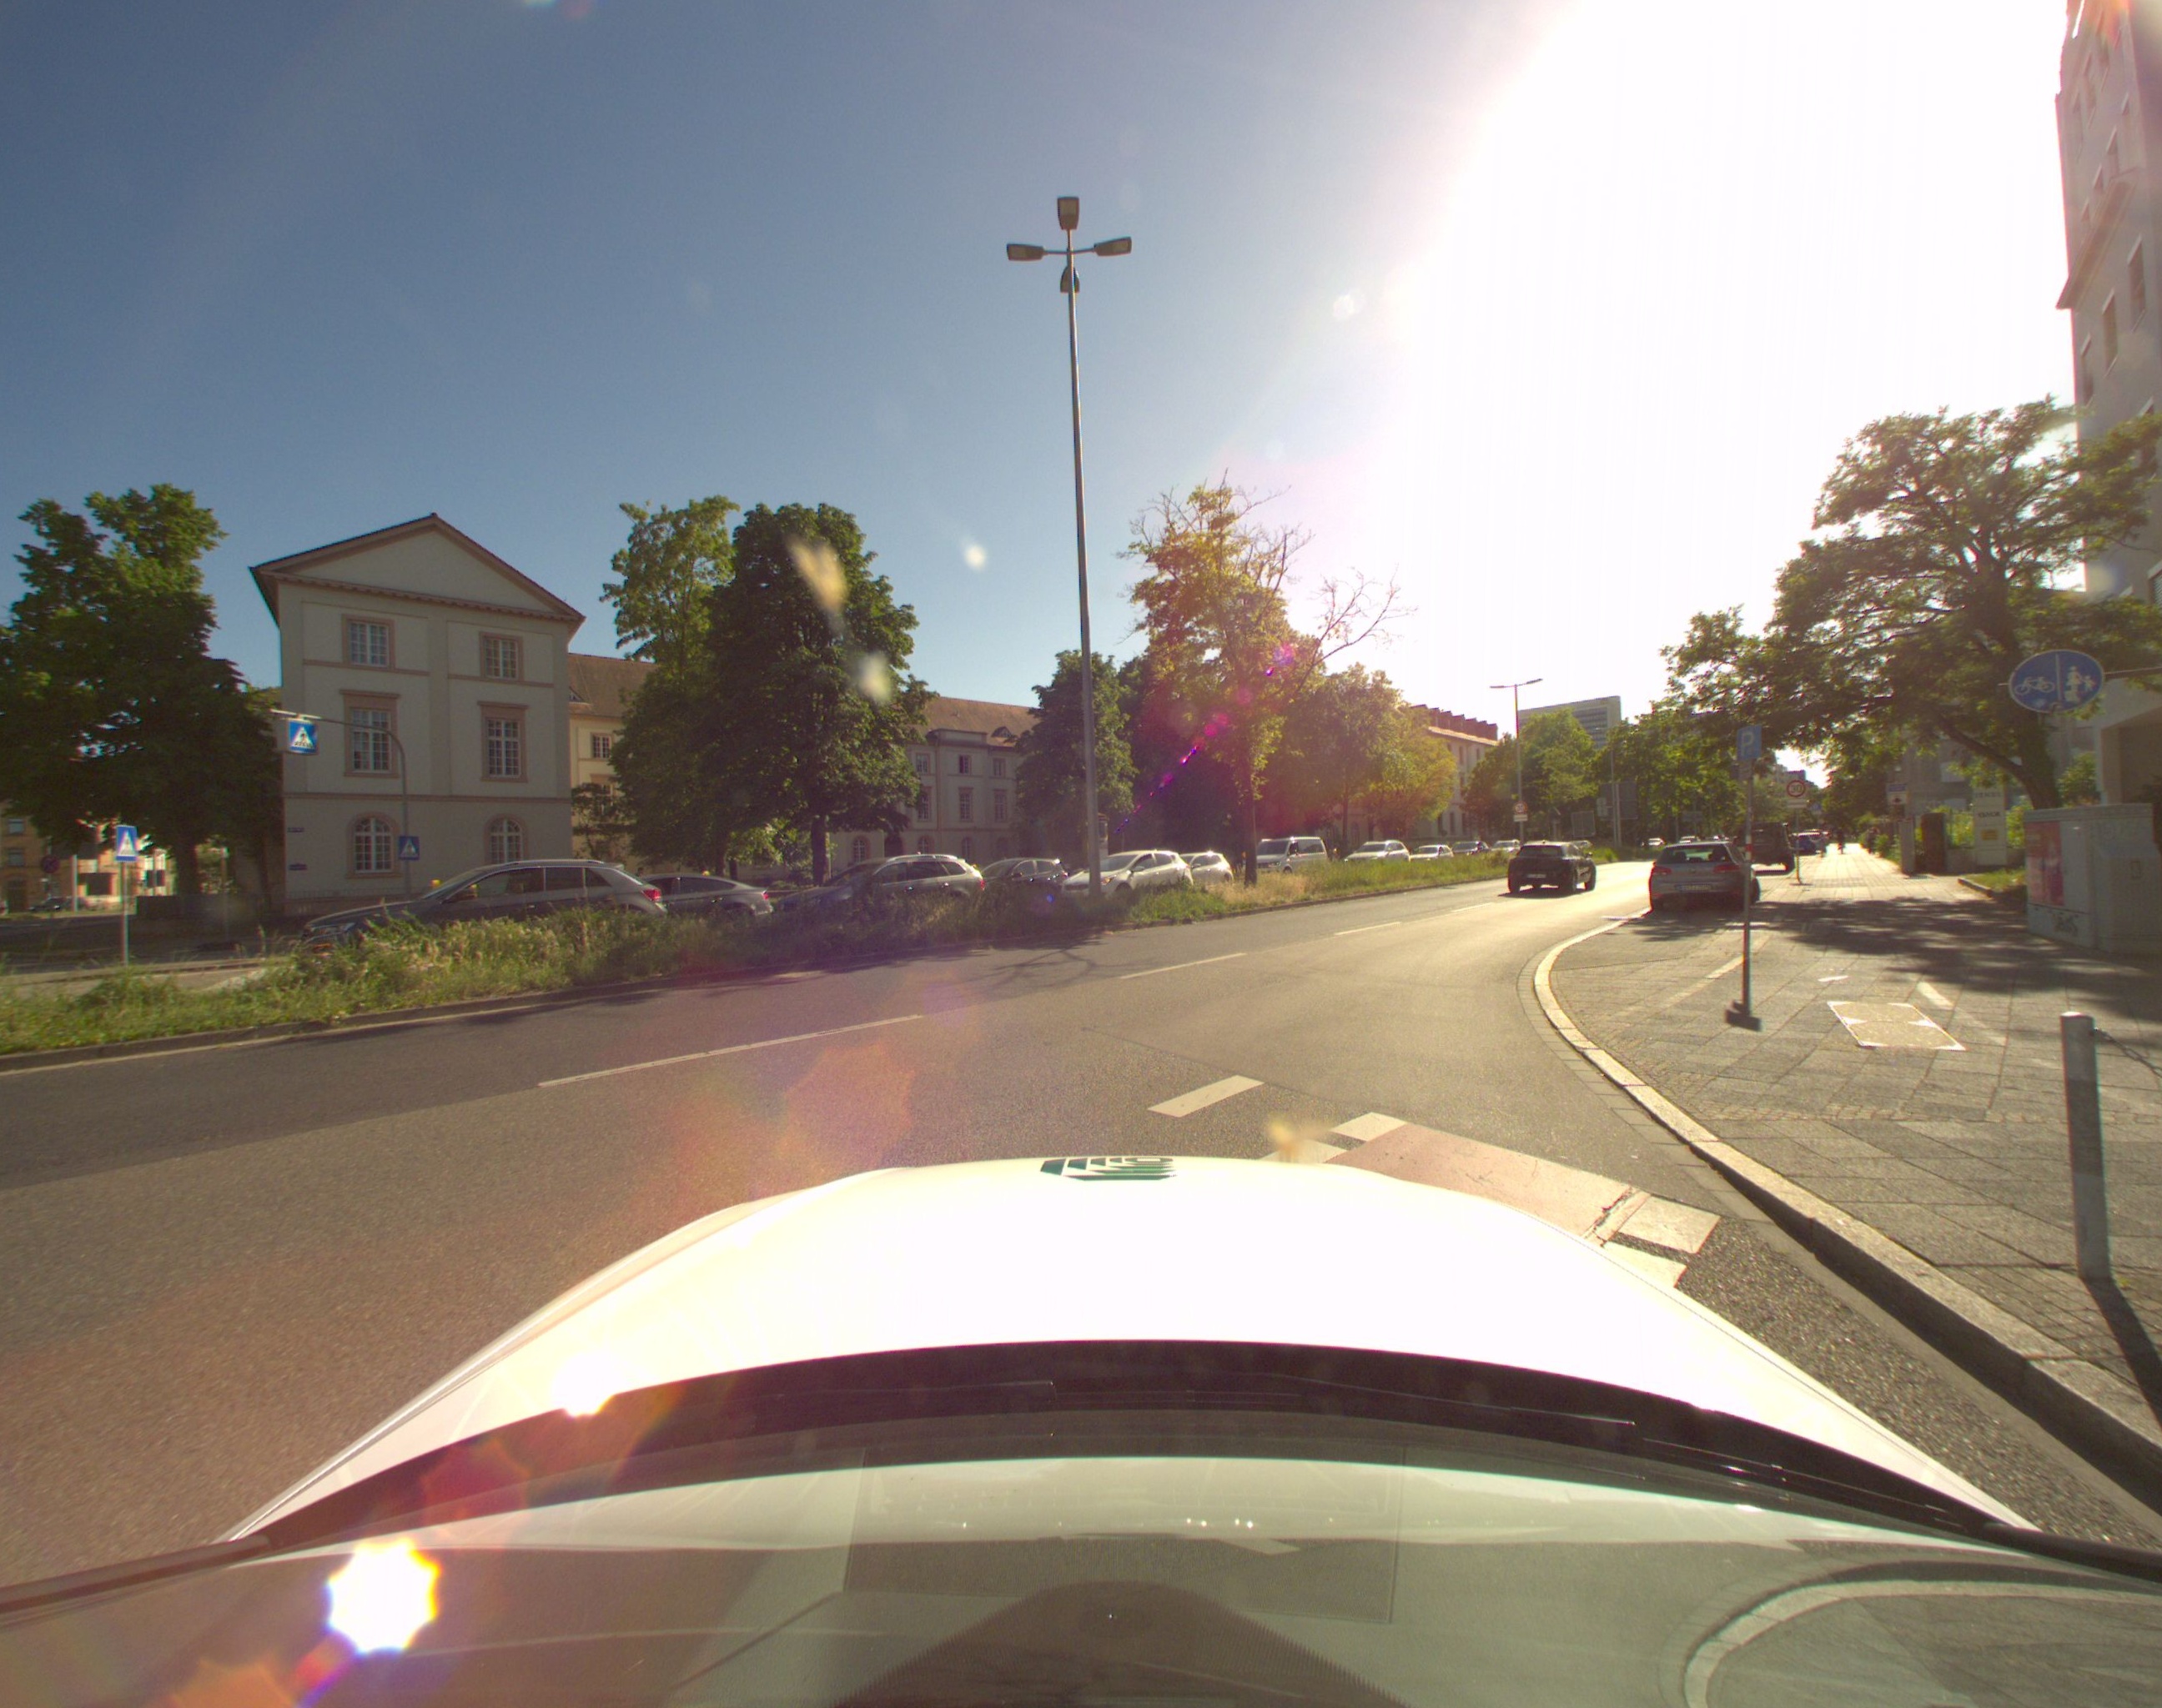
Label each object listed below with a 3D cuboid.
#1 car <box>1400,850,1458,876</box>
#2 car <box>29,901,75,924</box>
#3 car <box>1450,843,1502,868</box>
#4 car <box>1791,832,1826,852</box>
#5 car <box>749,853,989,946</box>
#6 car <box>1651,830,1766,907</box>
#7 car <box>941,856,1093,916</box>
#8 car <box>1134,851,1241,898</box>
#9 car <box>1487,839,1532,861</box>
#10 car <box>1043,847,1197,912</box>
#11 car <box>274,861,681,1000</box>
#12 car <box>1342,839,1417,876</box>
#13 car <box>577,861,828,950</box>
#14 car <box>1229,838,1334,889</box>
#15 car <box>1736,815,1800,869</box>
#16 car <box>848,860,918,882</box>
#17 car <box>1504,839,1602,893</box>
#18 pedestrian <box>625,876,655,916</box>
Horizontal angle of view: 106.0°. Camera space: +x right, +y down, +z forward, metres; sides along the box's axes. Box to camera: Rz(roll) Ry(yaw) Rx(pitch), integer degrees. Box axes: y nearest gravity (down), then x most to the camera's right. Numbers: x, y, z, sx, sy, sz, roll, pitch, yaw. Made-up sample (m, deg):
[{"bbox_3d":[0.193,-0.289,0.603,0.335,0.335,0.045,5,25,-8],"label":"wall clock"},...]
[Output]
[{"bbox_3d":[20.320,0.516,47.451,1.778,1.351,4.284,-2,0,42],"label":"car"},{"bbox_3d":[-88.731,5.012,70.248,1.864,1.706,3.951,-1,0,-43],"label":"car"},{"bbox_3d":[25.587,0.062,52.713,1.778,1.519,4.472,-2,-1,42],"label":"car"},{"bbox_3d":[50.077,-0.857,56.053,1.652,1.183,3.925,-7,-3,42],"label":"car"},{"bbox_3d":[-4.126,0.801,16.398,1.779,1.519,4.390,-1,1,42],"label":"car"},{"bbox_3d":[14.376,0.280,18.574,1.622,1.448,4.181,-3,1,43],"label":"car"},{"bbox_3d":[-1.783,0.860,23.749,1.779,1.519,4.373,-1,0,42],"label":"car"},{"bbox_3d":[3.901,0.691,29.468,1.778,1.519,4.104,-2,0,42],"label":"car"},{"bbox_3d":[30.868,-0.299,58.567,1.778,1.519,4.284,-2,0,42],"label":"car"},{"bbox_3d":[1.140,0.620,21.856,1.778,1.519,4.231,-2,0,42],"label":"car"},{"bbox_3d":[-8.297,0.903,11.537,1.779,1.519,4.373,-1,0,42],"label":"car"},{"bbox_3d":[15.491,0.152,42.129,1.778,1.743,5.063,-2,-1,42],"label":"car"},{"bbox_3d":[-7.714,0.956,16.936,1.779,1.519,4.373,-1,0,42],"label":"car"},{"bbox_3d":[8.750,0.354,35.199,2.212,2.028,5.048,-2,0,42],"label":"car"},{"bbox_3d":[28.550,-0.480,33.788,1.644,2.014,4.805,-4,-2,43],"label":"car"},{"bbox_3d":[-14.211,1.245,58.641,1.627,1.492,4.713,-1,-3,43],"label":"car"},{"bbox_3d":[14.649,0.301,25.178,1.876,1.519,4.025,0,1,41],"label":"car"},{"bbox_3d":[-17.730,1.690,32.719,0.732,1.535,0.786,-3,-1,38],"label":"pedestrian"}]
